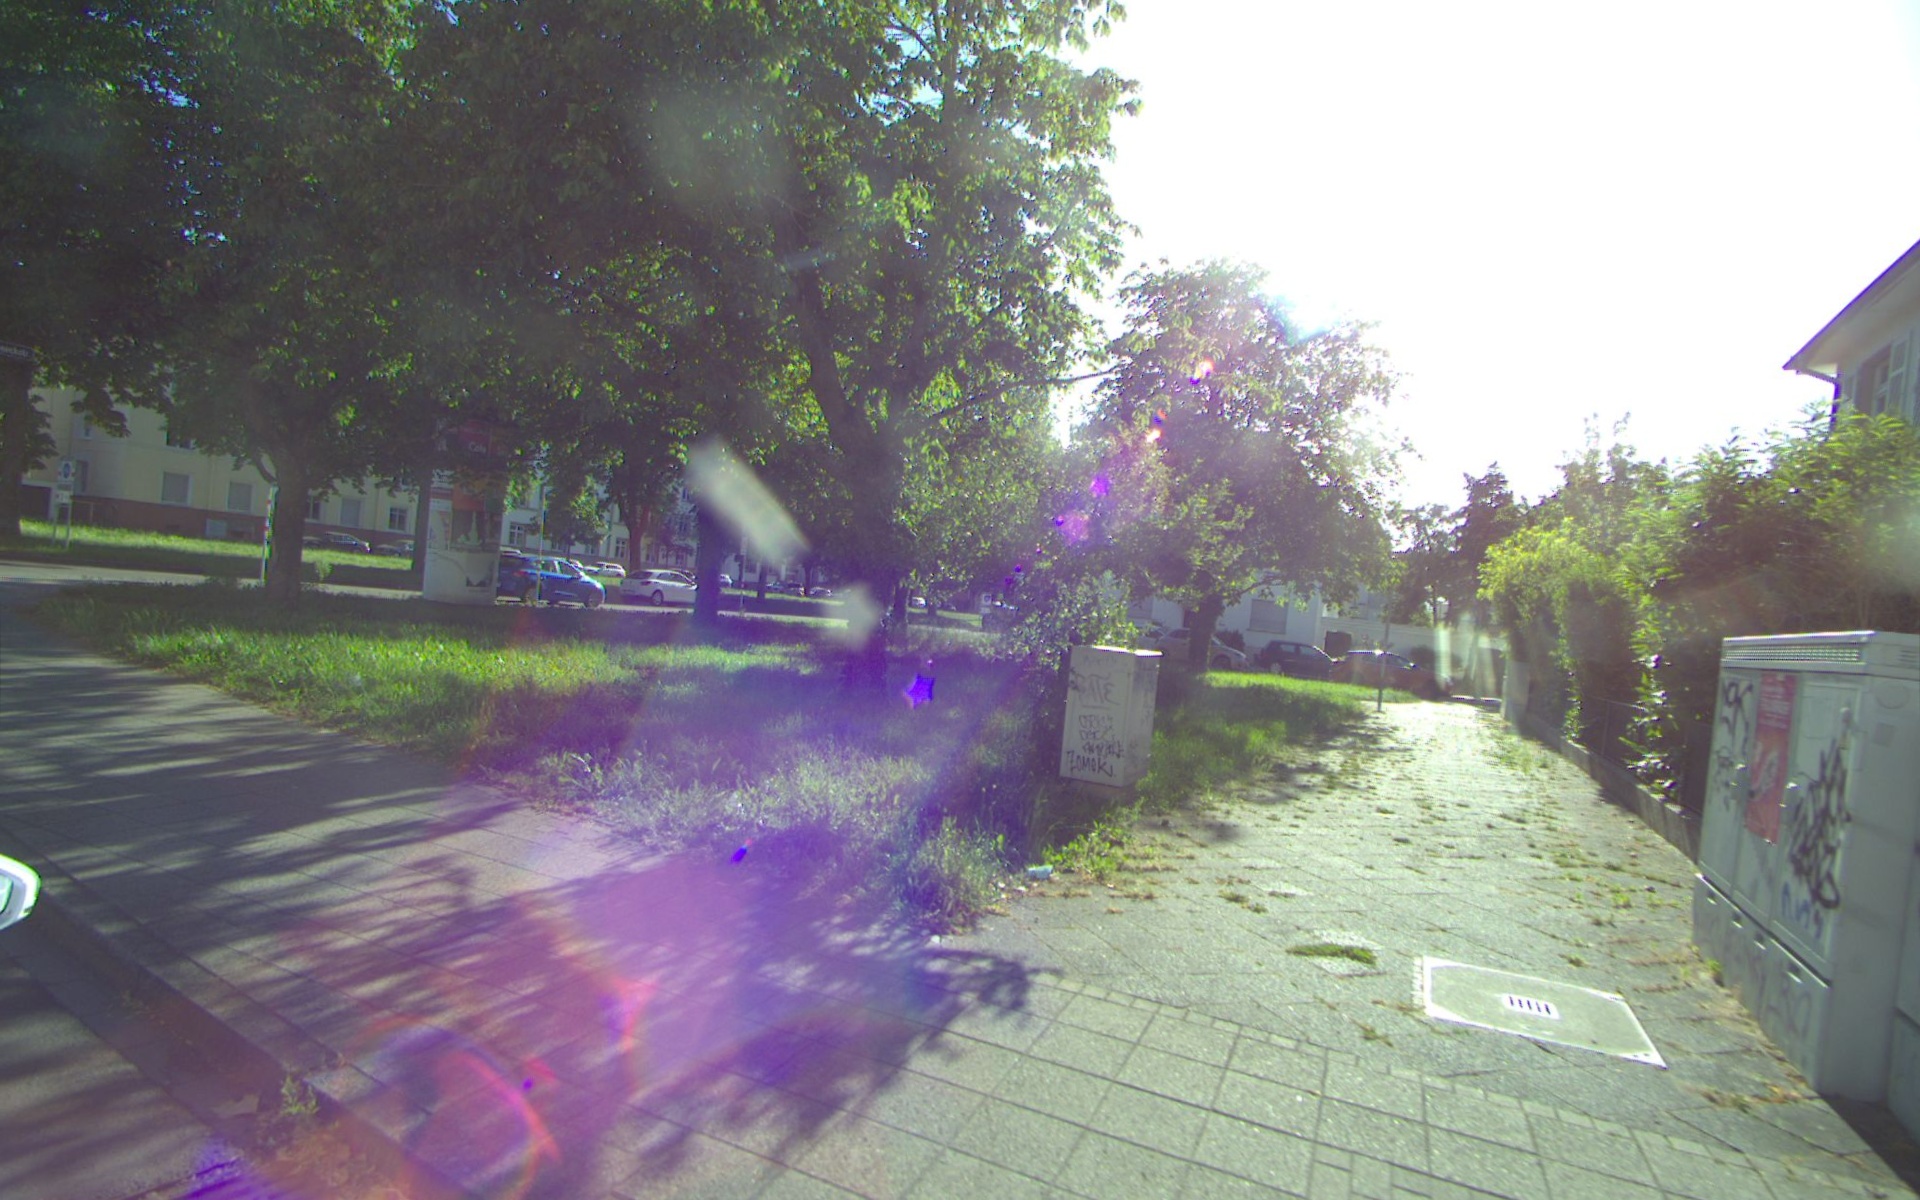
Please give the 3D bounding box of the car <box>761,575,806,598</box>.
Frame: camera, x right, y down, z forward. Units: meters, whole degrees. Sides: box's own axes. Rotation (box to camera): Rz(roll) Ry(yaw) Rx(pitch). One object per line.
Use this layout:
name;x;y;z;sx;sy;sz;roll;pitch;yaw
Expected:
car;-18.104;-1.346;103.358;1.958;1.838;4.827;7;0;27

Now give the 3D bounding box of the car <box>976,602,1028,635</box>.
car;2.631;1.177;62.554;1.642;1.696;3.804;7;0;27

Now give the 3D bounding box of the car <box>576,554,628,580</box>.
car;-31.366;-2.856;88.288;1.729;1.838;4.106;7;0;26

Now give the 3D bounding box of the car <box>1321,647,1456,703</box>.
car;14.657;2.558;34.563;3.938;1.361;1.466;7;1;12

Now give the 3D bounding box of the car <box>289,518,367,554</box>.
car;-41.791;-4.183;66.644;1.729;1.838;3.965;7;0;26

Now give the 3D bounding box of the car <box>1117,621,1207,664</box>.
car;9.044;1.892;44.943;3.534;1.503;1.636;7;1;24

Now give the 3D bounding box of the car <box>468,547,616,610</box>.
car;-12.481;-0.598;30.296;1.757;1.467;3.998;7;0;21

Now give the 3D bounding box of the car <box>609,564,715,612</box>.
car;-11.674;-0.442;39.623;1.715;1.459;3.804;7;0;27

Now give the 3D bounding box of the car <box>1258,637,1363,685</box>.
car;14.618;2.515;42.137;3.927;1.503;1.798;7;1;16

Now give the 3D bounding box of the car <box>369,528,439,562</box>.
car;-39.451;-3.881;71.434;1.729;1.838;3.965;7;0;26

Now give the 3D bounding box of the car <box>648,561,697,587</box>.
car;-25.166;-2.228;88.227;1.729;1.838;4.004;7;0;26

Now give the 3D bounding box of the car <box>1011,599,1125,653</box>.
car;4.258;1.017;39.674;4.025;1.635;1.634;7;1;29

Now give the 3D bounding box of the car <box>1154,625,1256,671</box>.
car;9.018;1.779;37.102;3.261;1.271;1.447;7;1;31
